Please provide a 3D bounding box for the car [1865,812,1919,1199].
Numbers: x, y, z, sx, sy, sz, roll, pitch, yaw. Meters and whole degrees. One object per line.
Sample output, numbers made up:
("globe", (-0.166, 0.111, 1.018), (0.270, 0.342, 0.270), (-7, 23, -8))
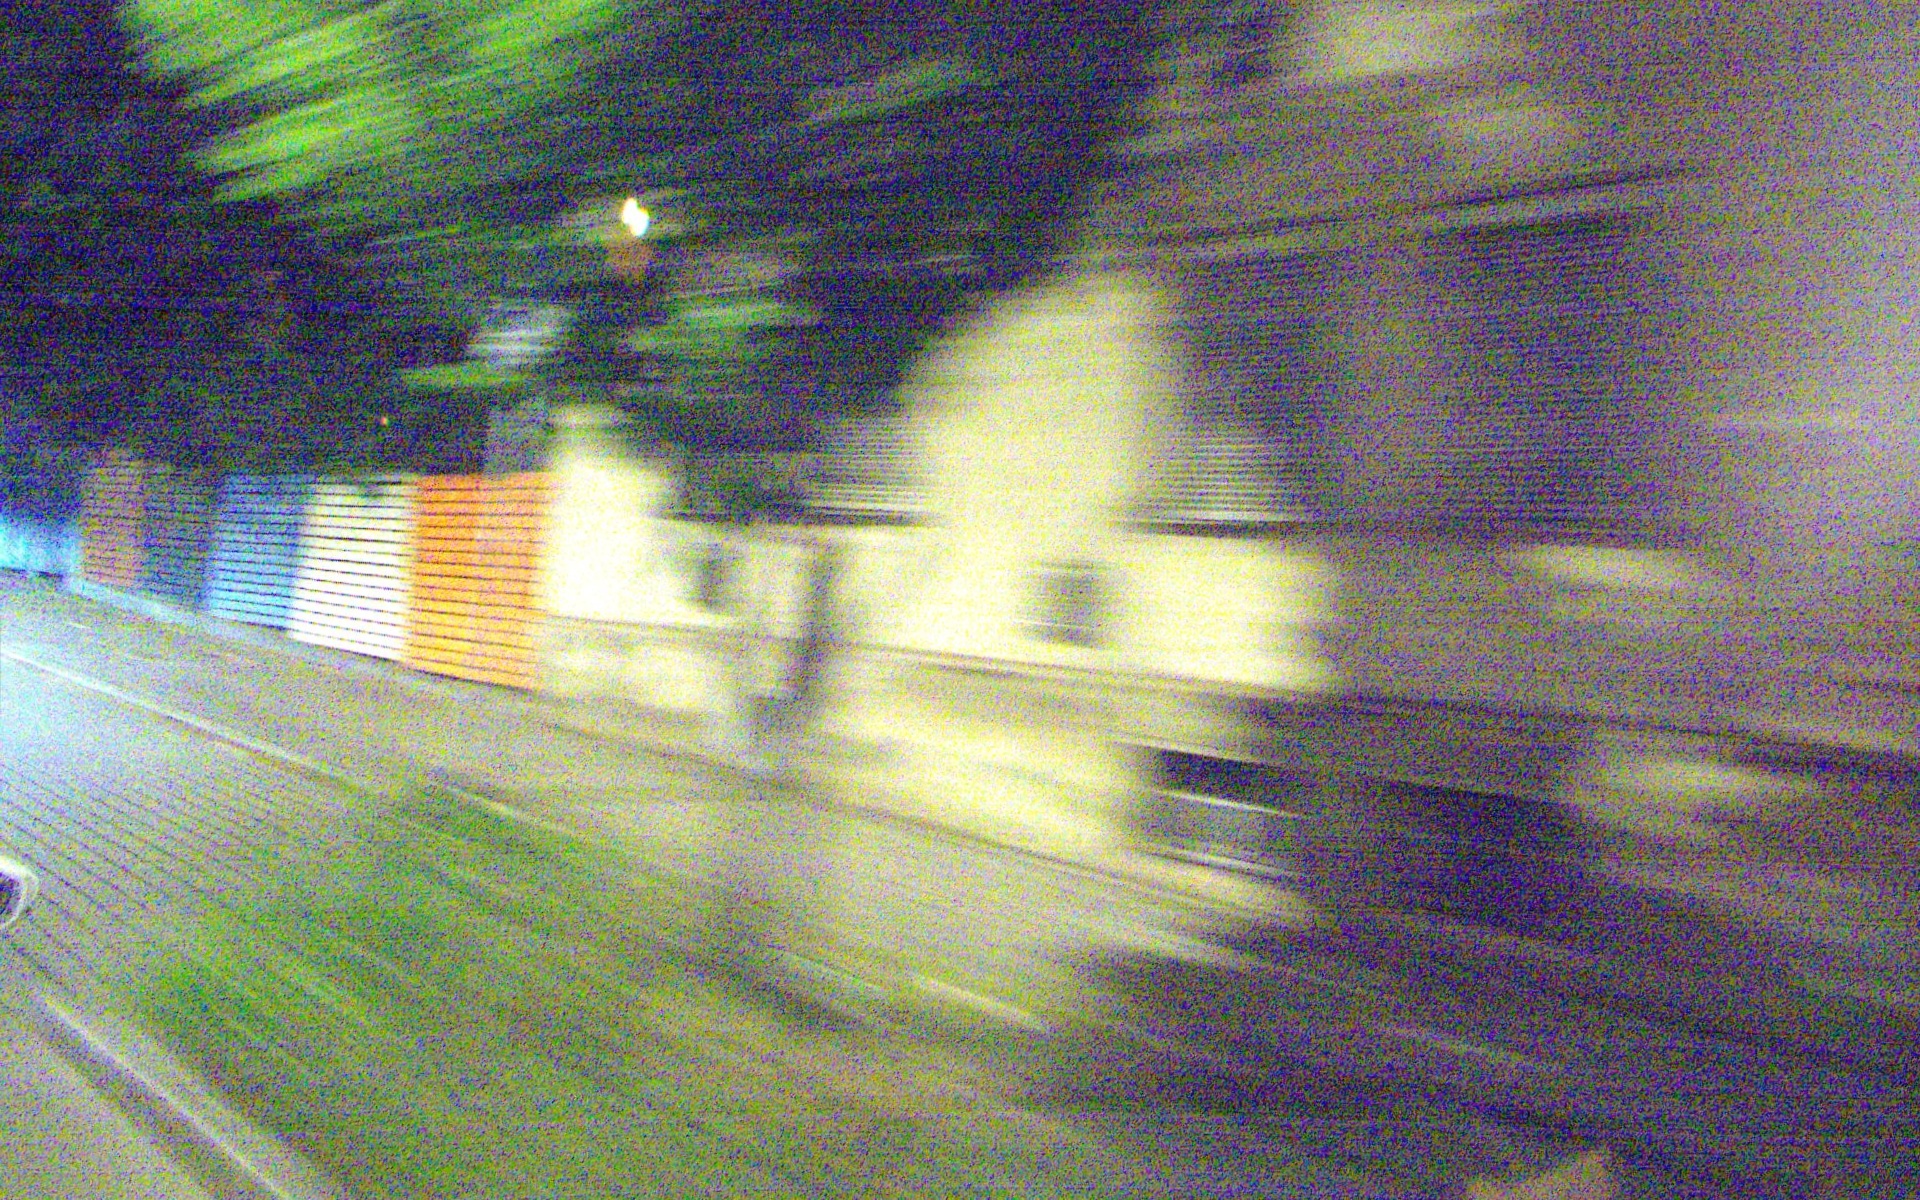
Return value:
("car", (3.232, 1.110, 0.351), (4.013, 1.495, 1.764), (7, 1, 32))
